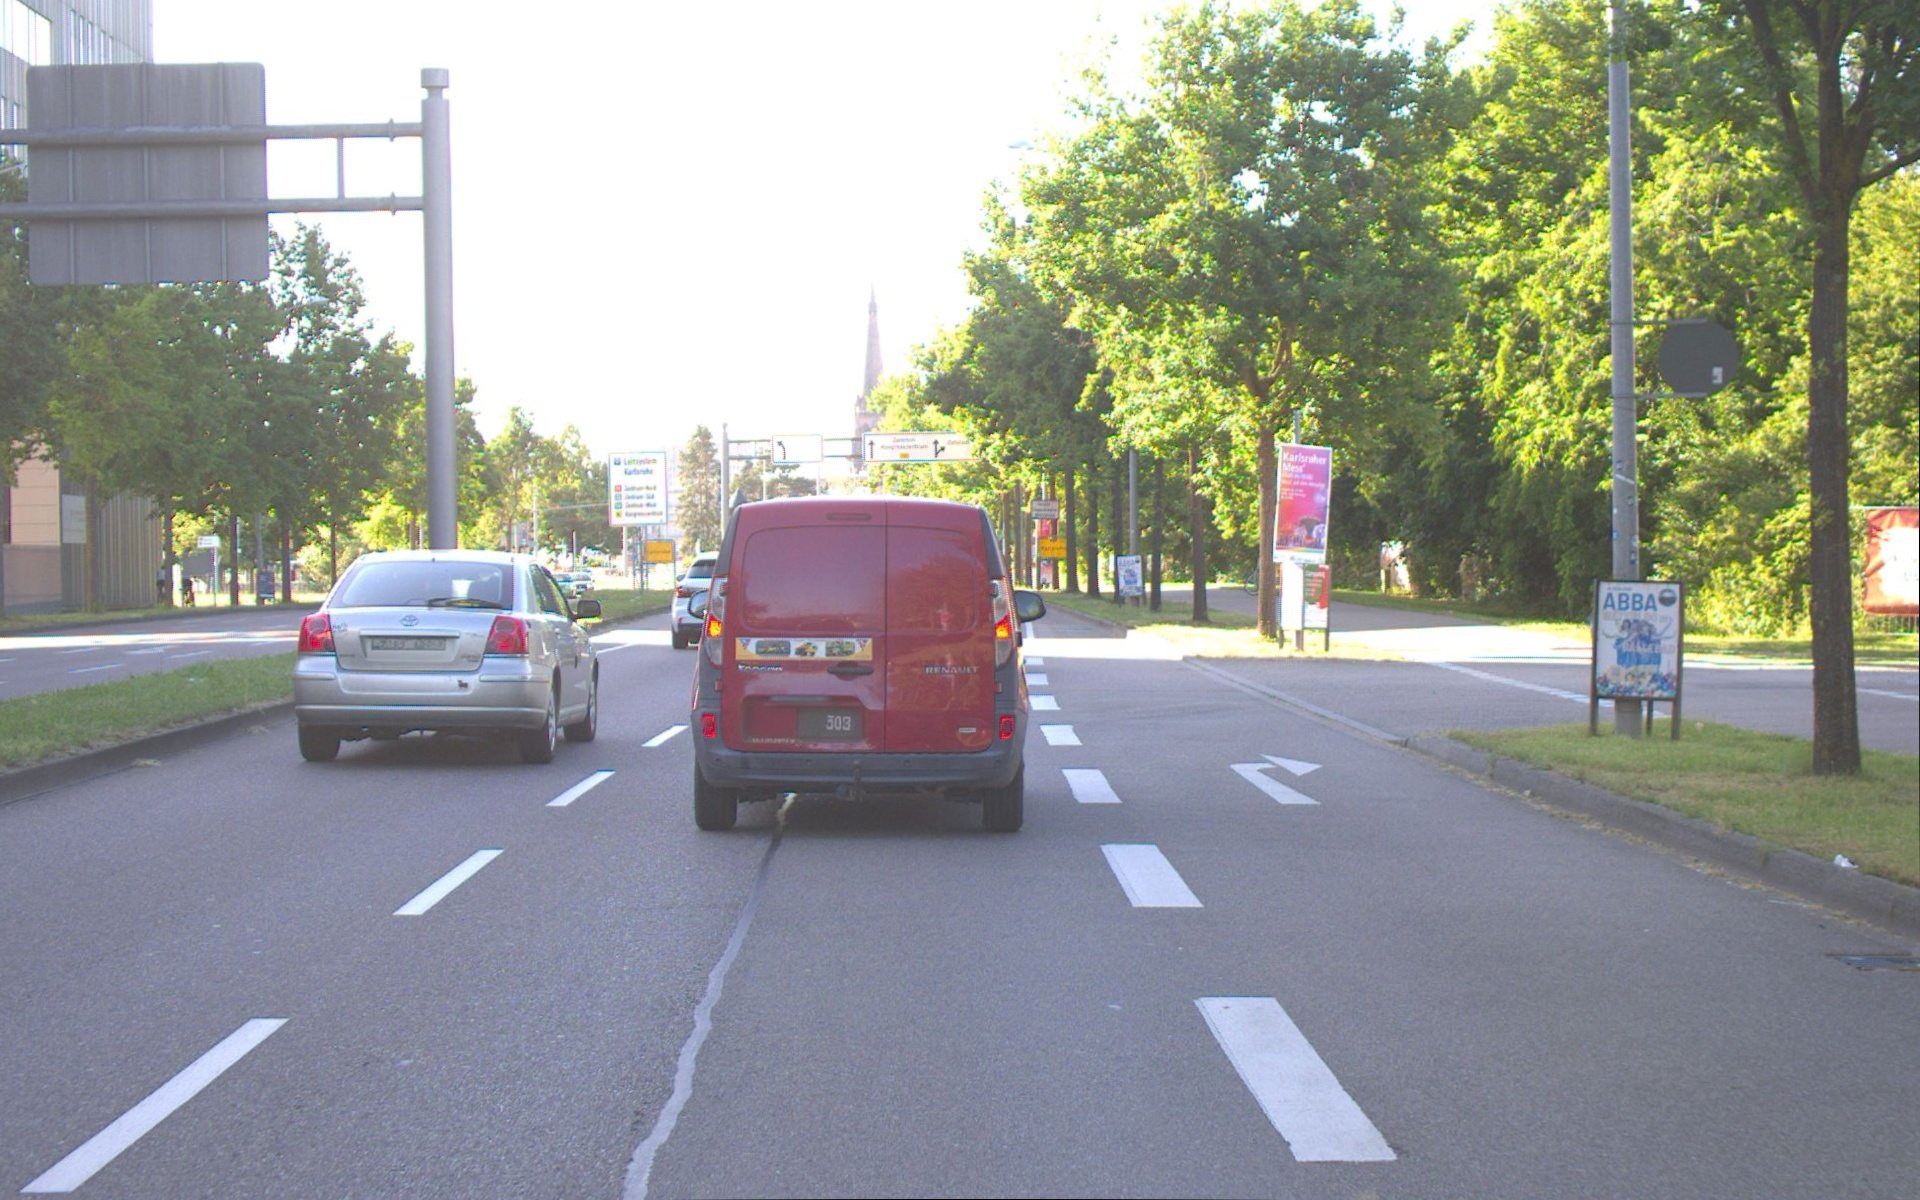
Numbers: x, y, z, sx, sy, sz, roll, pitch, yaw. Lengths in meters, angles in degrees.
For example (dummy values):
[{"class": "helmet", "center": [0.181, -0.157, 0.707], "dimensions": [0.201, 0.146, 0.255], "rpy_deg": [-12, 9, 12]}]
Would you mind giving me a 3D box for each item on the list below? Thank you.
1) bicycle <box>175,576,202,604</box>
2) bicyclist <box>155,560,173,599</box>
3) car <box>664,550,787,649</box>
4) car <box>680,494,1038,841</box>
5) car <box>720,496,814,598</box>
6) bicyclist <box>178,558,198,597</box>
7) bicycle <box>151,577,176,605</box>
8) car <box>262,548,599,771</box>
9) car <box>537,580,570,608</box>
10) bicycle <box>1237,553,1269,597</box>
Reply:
[{"class": "bicycle", "center": [-27.703, -0.348, 123.463], "dimensions": [0.570, 1.000, 2.096], "rpy_deg": [-1, 0, -2]}, {"class": "bicyclist", "center": [-28.649, -0.736, 123.711], "dimensions": [0.482, 1.390, 0.844], "rpy_deg": [-1, 0, -2]}, {"class": "car", "center": [-3.448, -0.031, 50.921], "dimensions": [1.661, 1.393, 3.559], "rpy_deg": [-1, 1, -2]}, {"class": "car", "center": [-0.572, 0.321, 19.511], "dimensions": [1.806, 1.753, 4.006], "rpy_deg": [1, 1, -2]}, {"class": "car", "center": [-3.610, -0.984, 64.738], "dimensions": [1.661, 1.850, 3.559], "rpy_deg": [-1, 1, -2]}, {"class": "bicyclist", "center": [-27.705, -0.807, 123.450], "dimensions": [0.562, 1.387, 0.747], "rpy_deg": [-1, 0, -2]}, {"class": "bicycle", "center": [-28.645, -0.324, 123.705], "dimensions": [0.487, 1.000, 2.096], "rpy_deg": [-1, 0, -2]}, {"class": "car", "center": [-3.712, 0.368, 24.746], "dimensions": [1.841, 1.451, 4.162], "rpy_deg": [1, 1, -1]}, {"class": "car", "center": [-21.661, -0.327, 183.272], "dimensions": [1.446, 1.431, 3.460], "rpy_deg": [-1, 1, -3]}, {"class": "bicycle", "center": [7.656, -0.661, 89.685], "dimensions": [0.774, 1.127, 1.708], "rpy_deg": [0, 1, 7]}]
